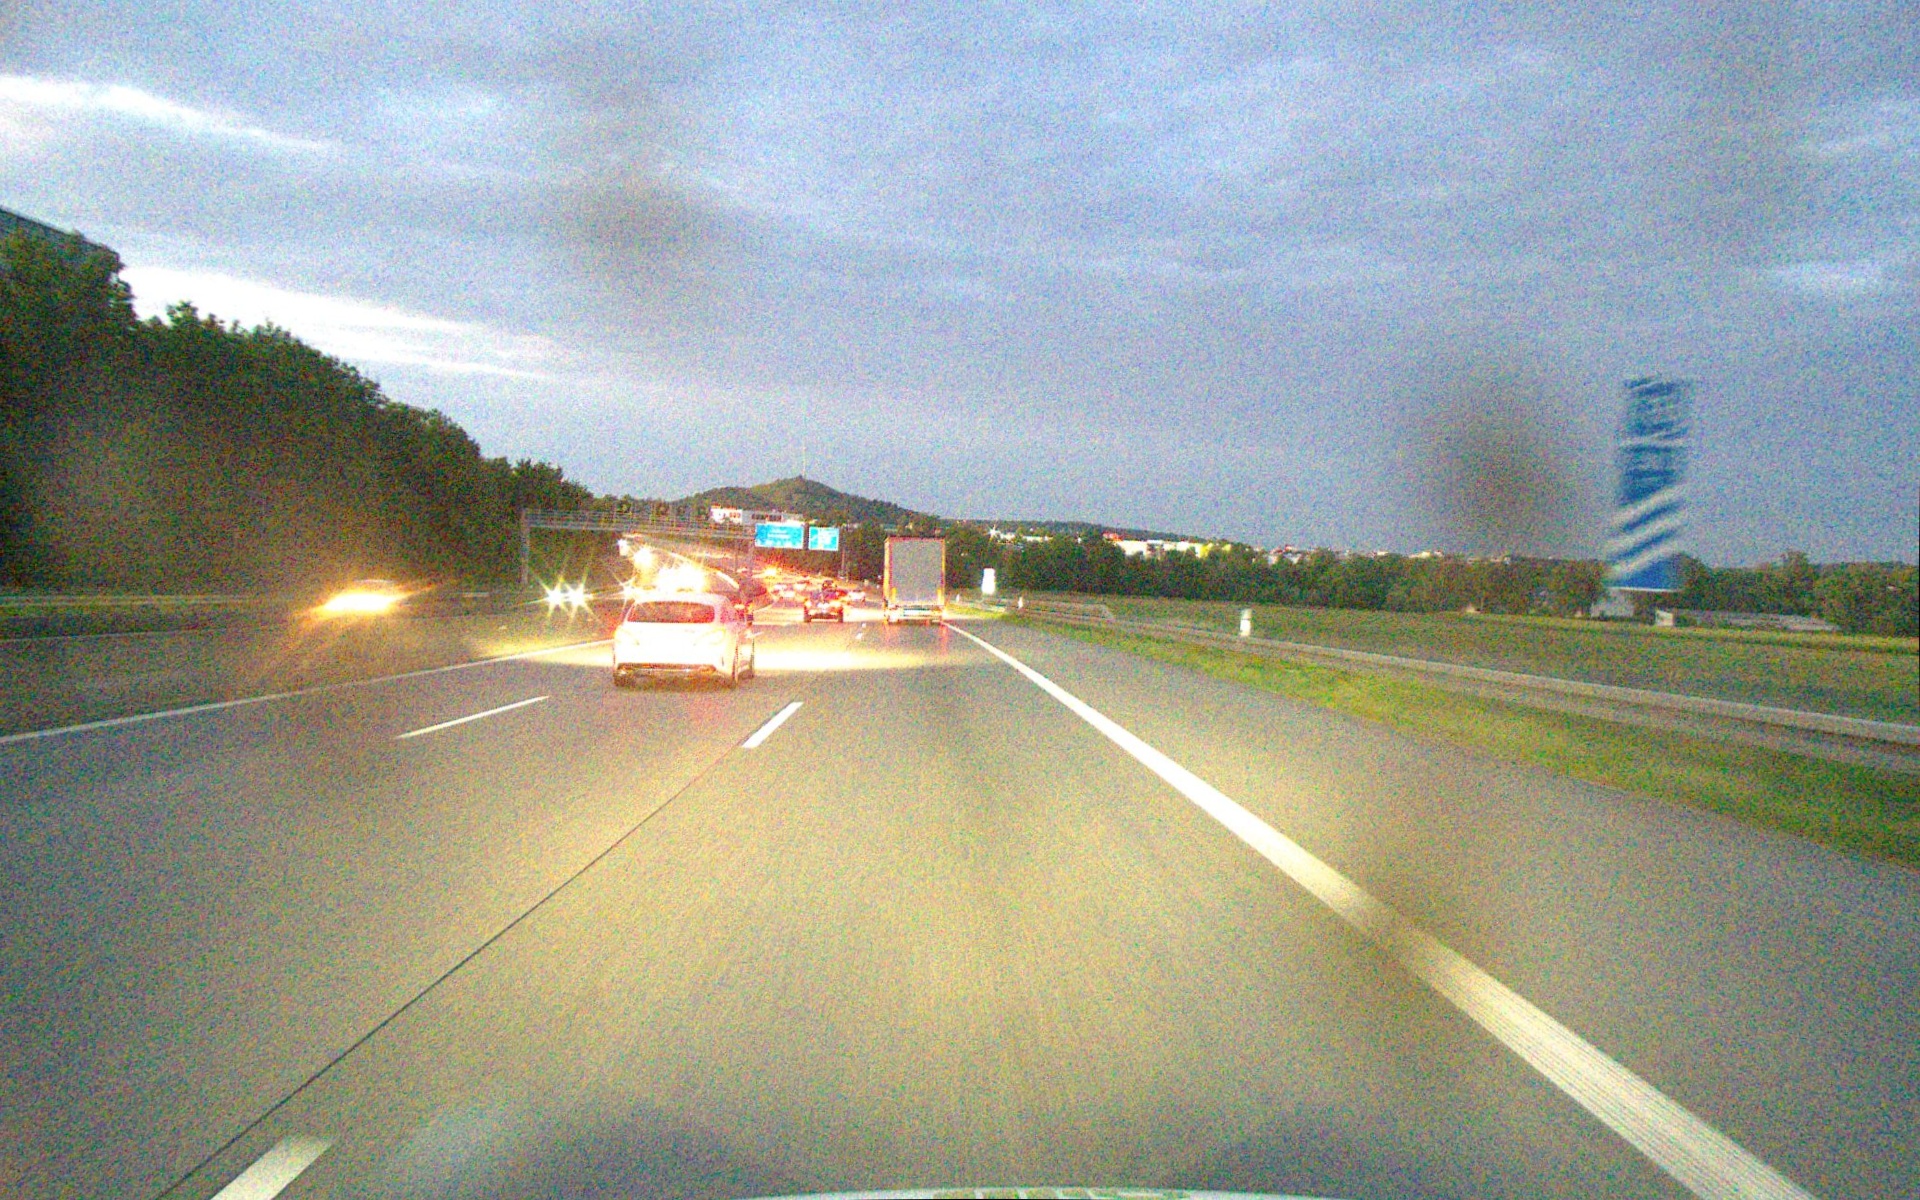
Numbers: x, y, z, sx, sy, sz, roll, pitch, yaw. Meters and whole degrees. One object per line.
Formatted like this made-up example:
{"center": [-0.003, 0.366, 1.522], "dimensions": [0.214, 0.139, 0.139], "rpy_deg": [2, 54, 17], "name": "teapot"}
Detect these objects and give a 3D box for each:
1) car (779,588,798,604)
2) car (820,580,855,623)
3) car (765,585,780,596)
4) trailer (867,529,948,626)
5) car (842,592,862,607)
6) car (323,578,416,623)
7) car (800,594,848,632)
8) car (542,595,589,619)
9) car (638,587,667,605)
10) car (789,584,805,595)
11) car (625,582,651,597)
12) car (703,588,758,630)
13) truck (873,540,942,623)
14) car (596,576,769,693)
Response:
{"center": [-18.630, -0.409, 179.417], "dimensions": [1.956, 1.650, 3.993], "rpy_deg": [1, 0, -8], "name": "car"}
{"center": [-7.244, 0.095, 97.687], "dimensions": [1.954, 2.422, 3.997], "rpy_deg": [1, 0, -4], "name": "car"}
{"center": [-26.127, -1.336, 230.554], "dimensions": [1.957, 1.493, 3.992], "rpy_deg": [1, 0, -9], "name": "car"}
{"center": [-2.565, -0.948, 80.054], "dimensions": [3.479, 4.188, 15.056], "rpy_deg": [1, 0, -2], "name": "trailer"}
{"center": [-11.474, -0.047, 175.575], "dimensions": [1.954, 1.561, 3.996], "rpy_deg": [1, 0, -5], "name": "car"}
{"center": [-20.767, 0.013, 58.308], "dimensions": [1.953, 1.478, 3.833], "rpy_deg": [1, 0, -2], "name": "car"}
{"center": [-6.335, 0.596, 77.650], "dimensions": [2.024, 1.715, 4.574], "rpy_deg": [1, 0, -3], "name": "car"}
{"center": [-23.321, 0.403, 97.901], "dimensions": [1.798, 1.359, 4.907], "rpy_deg": [1, 0, -2], "name": "car"}
{"center": [-27.733, -0.343, 149.104], "dimensions": [1.954, 1.531, 4.503], "rpy_deg": [1, 0, -3], "name": "car"}
{"center": [-24.217, -1.533, 246.030], "dimensions": [1.958, 1.650, 3.990], "rpy_deg": [1, 0, -11], "name": "car"}
{"center": [-33.500, -1.085, 172.207], "dimensions": [1.954, 1.560, 5.003], "rpy_deg": [1, 0, -4], "name": "car"}
{"center": [-9.346, 0.365, 67.511], "dimensions": [1.726, 1.602, 4.574], "rpy_deg": [1, 0, -2], "name": "car"}
{"center": [-2.786, -0.915, 87.405], "dimensions": [3.479, 4.163, 6.148], "rpy_deg": [1, 0, -2], "name": "truck"}
{"center": [-4.270, 0.496, 26.212], "dimensions": [1.867, 1.642, 4.803], "rpy_deg": [1, 0, 0], "name": "car"}
